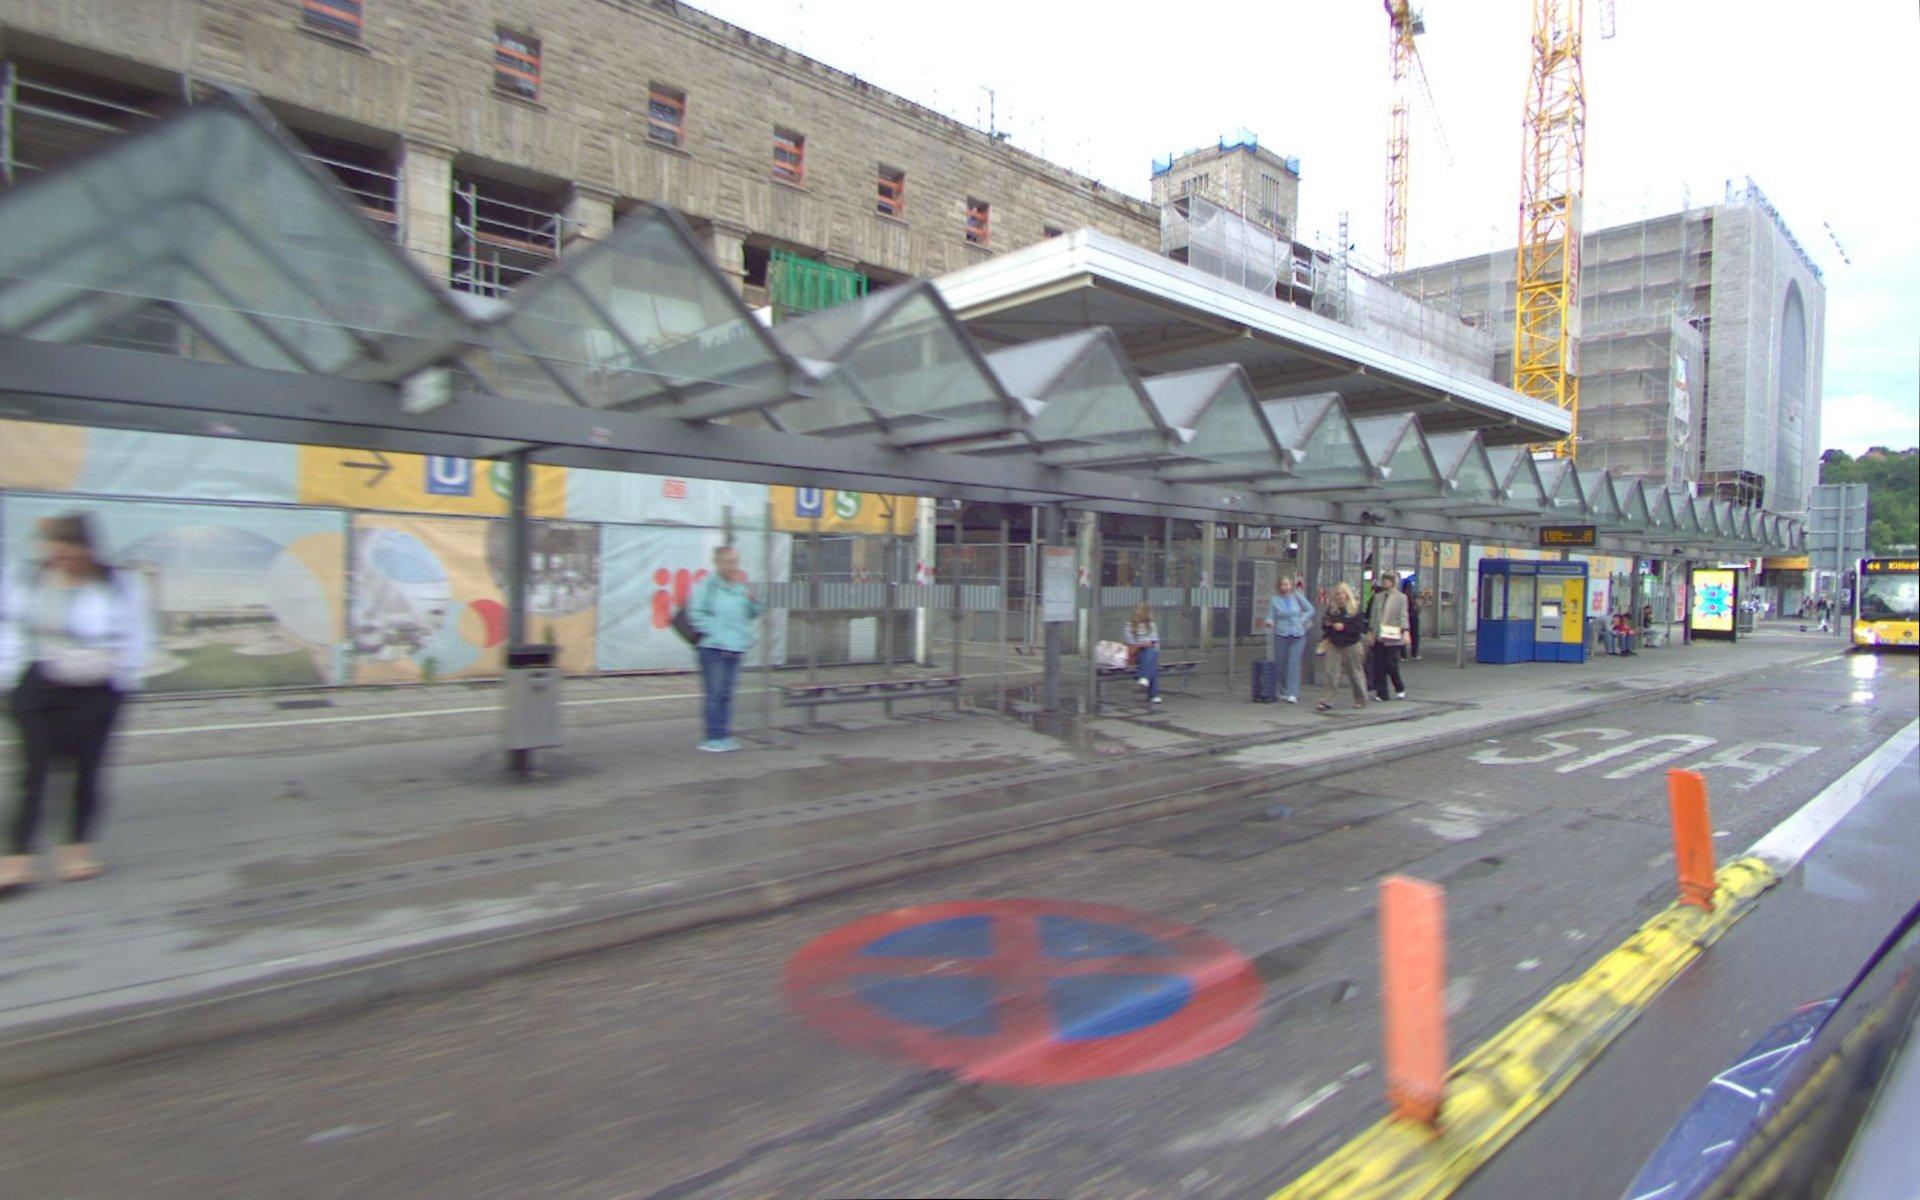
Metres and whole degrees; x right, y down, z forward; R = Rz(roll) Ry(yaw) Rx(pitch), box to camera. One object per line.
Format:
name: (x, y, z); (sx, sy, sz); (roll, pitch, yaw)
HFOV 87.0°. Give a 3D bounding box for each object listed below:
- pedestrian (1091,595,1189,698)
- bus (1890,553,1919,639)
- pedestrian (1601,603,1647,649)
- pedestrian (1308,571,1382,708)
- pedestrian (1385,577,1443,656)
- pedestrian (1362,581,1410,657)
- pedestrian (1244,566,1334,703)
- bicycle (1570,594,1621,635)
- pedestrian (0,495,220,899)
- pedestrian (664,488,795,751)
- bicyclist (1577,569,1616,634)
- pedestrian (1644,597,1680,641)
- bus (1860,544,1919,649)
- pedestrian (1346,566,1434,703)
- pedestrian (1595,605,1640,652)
pedestrian: (2.291, 0.566, 12.865); (0.826, 1.246, 0.914); (1, -1, -42)
bus: (38.163, -0.164, 38.979); (8.926, 3.107, 2.758); (0, 1, -43)
pedestrian: (16.278, 0.630, 24.813); (0.794, 1.078, 0.728); (0, 1, -42)
pedestrian: (4.644, 0.452, 12.201); (0.716, 1.585, 0.521); (1, 1, -42)
pedestrian: (9.628, 0.336, 21.472); (0.732, 1.627, 0.907); (1, -1, -41)
pedestrian: (9.392, 0.401, 22.297); (0.707, 1.627, 0.718); (3, 2, 44)
pedestrian: (4.219, 0.415, 12.986); (0.791, 1.681, 0.809); (1, 0, -42)
bicycle: (20.198, 0.444, 32.145); (2.366, 1.213, 0.815); (0, 2, -44)
pedestrian: (-4.062, 0.393, 4.720); (0.695, 1.700, 0.718); (2, 1, 22)
pedestrian: (-1.917, 0.149, 8.523); (0.791, 2.076, 0.924); (0, 0, 8)
bicyclist: (20.226, 0.035, 32.153); (0.804, 2.006, 0.823); (1, 1, -44)
pedestrian: (19.913, 0.537, 28.703); (0.654, 1.201, 0.666); (1, 1, -42)
bus: (31.650, -0.124, 32.907); (8.841, 3.104, 2.758); (0, 1, -43)
pedestrian: (5.629, 0.423, 13.255); (0.808, 1.714, 0.763); (1, 1, -42)
pedestrian: (15.742, 0.668, 24.225); (0.697, 1.078, 0.728); (0, 1, -42)
